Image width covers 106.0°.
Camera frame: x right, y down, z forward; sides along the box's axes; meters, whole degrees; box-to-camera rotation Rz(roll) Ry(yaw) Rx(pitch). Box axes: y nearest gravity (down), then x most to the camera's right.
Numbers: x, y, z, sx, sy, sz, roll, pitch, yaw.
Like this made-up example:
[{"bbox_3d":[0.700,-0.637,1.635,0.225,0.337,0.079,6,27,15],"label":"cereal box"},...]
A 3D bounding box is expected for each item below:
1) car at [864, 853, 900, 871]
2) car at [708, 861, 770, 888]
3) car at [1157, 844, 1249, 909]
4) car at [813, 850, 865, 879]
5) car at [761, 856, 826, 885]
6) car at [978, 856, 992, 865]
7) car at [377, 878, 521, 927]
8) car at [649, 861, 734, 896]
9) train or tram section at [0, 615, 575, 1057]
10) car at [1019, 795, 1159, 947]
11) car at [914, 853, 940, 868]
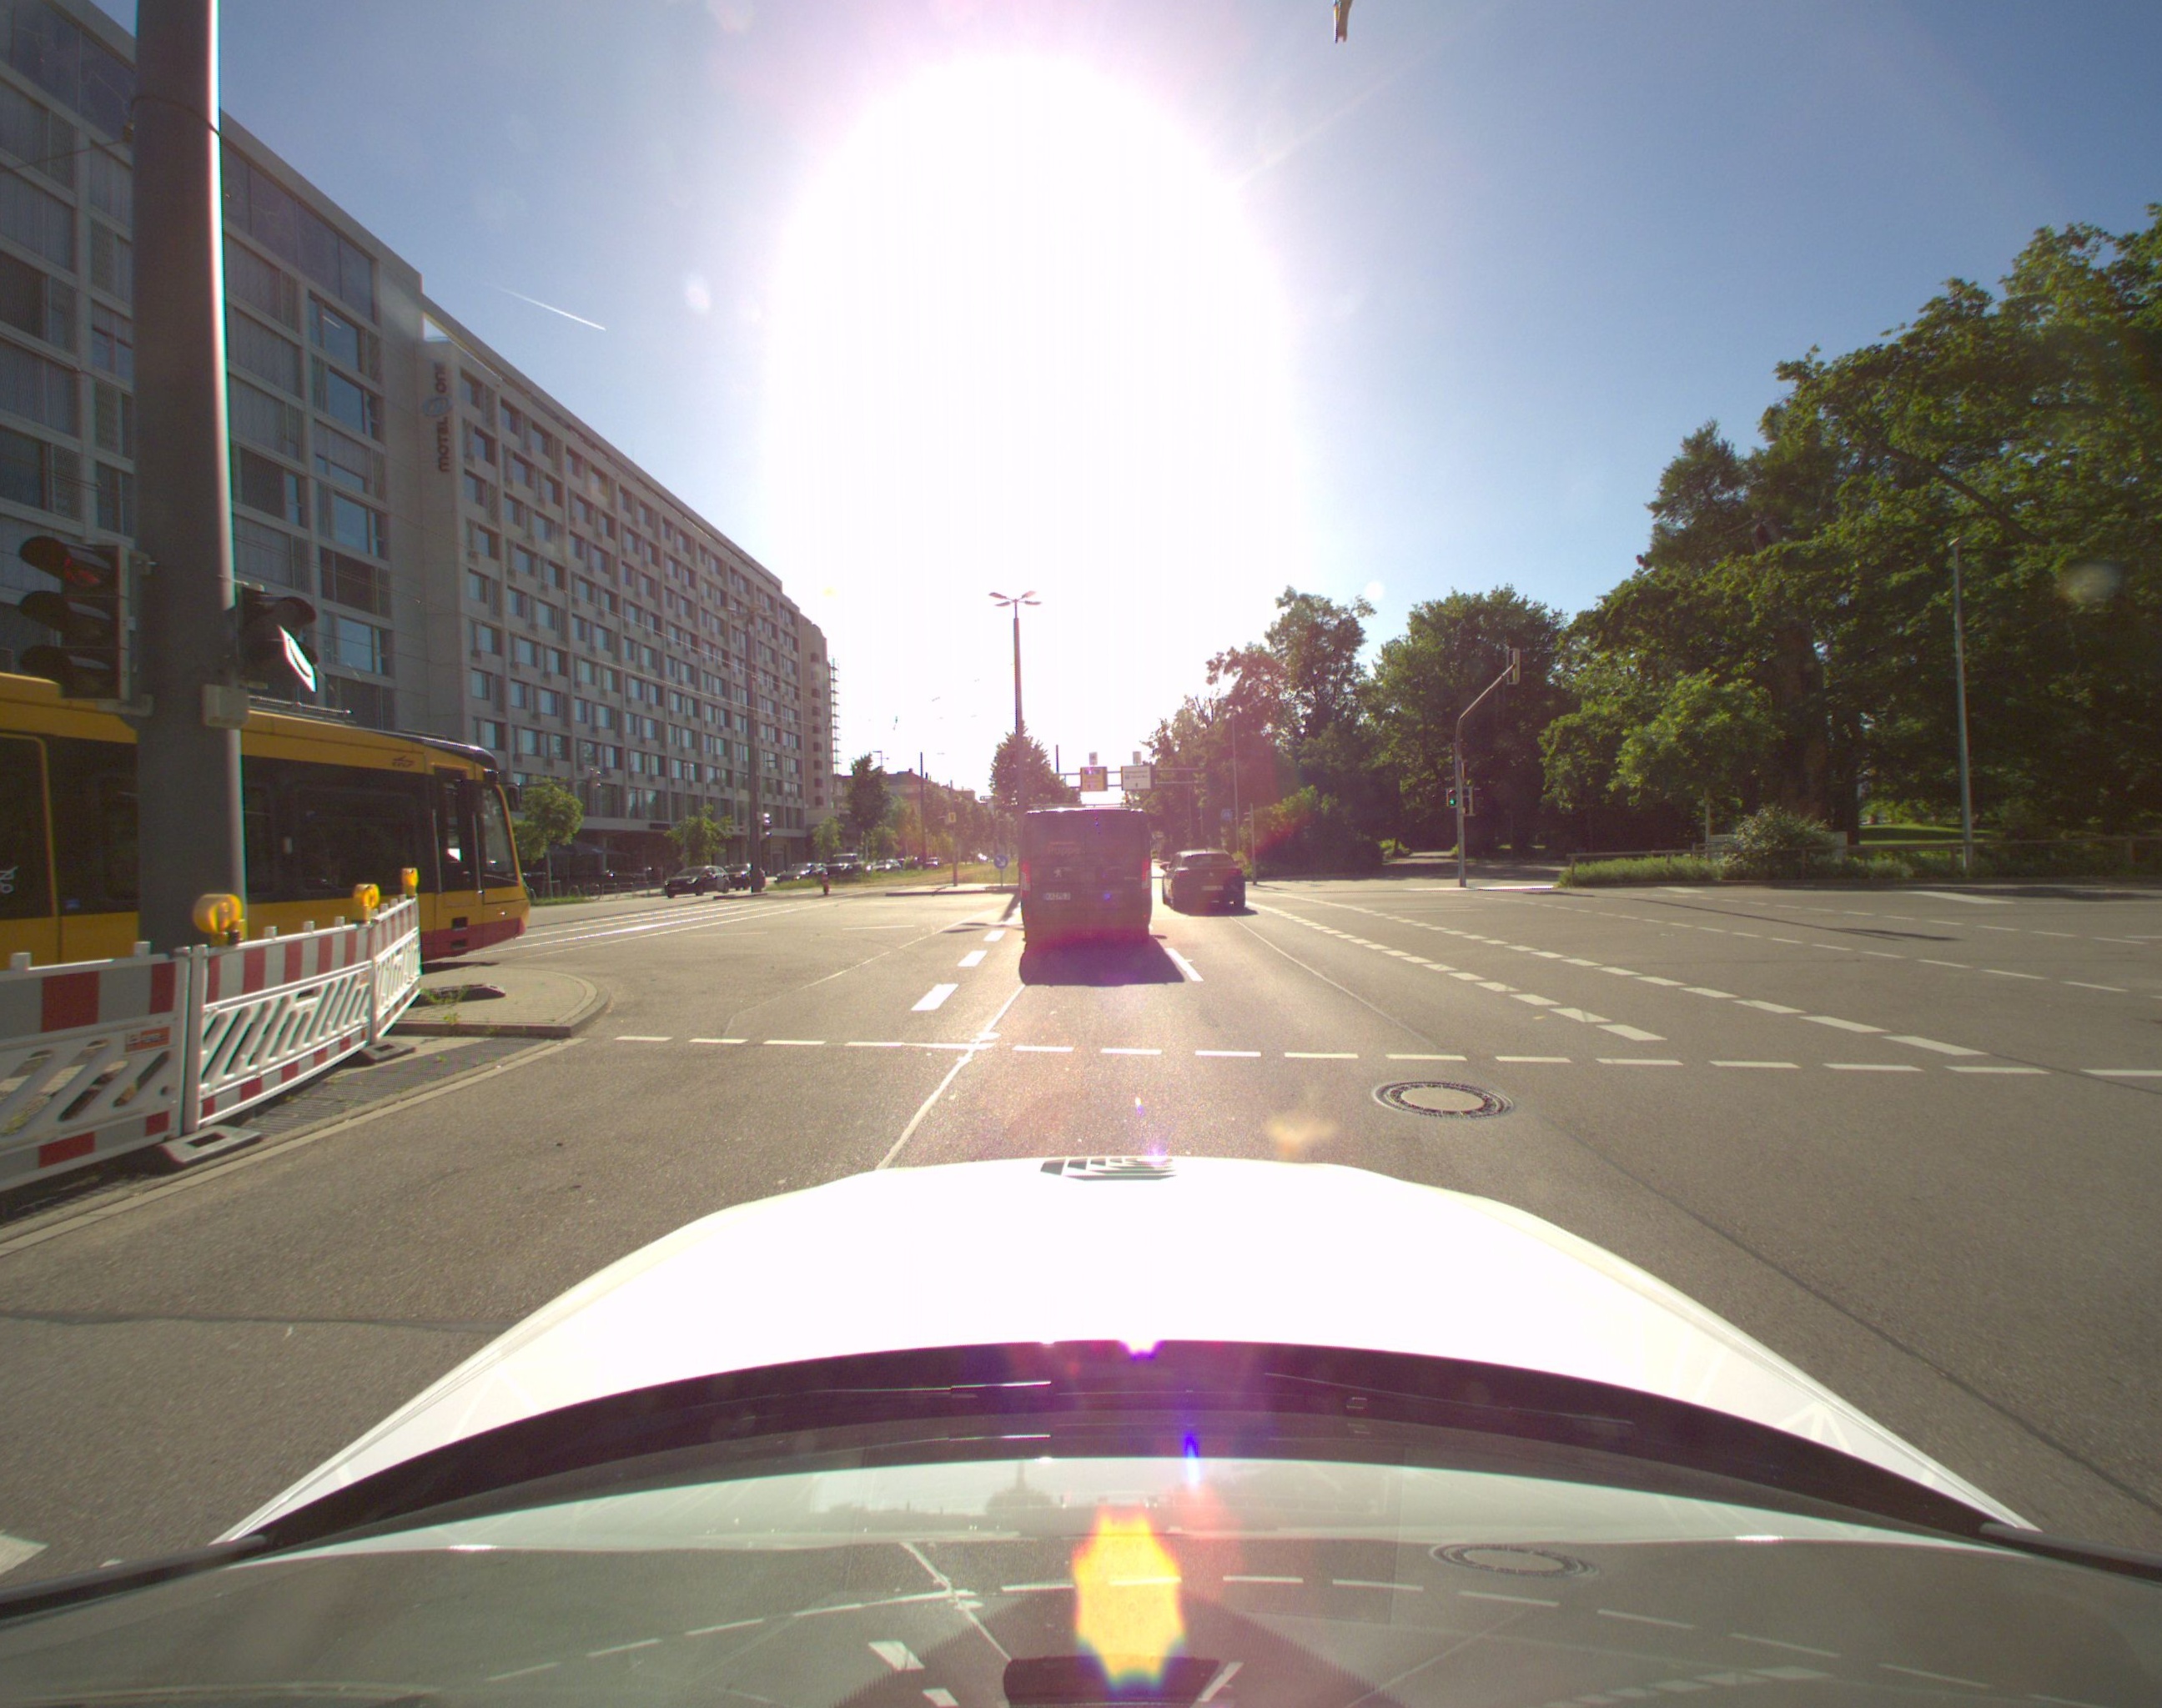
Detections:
[{"bbox_3d":[-18.171,0.740,74.490,1.985,1.552,4.004,-1,0,4],"label":"car"},{"bbox_3d":[-21.549,1.291,51.512,1.985,1.552,4.004,-1,0,4],"label":"car"},{"bbox_3d":[3.001,0.506,20.824,1.757,1.462,4.000,-1,0,0],"label":"car"},{"bbox_3d":[-16.189,0.657,54.741,1.985,1.819,4.290,-1,0,3],"label":"car"},{"bbox_3d":[-16.619,0.933,47.361,1.983,1.552,4.007,-1,0,6],"label":"car"},{"bbox_3d":[-18.143,1.167,154.253,1.985,1.552,4.003,-1,0,3],"label":"car"},{"bbox_3d":[-23.823,1.785,30.920,1.982,1.552,4.010,-1,0,9],"label":"car"},{"bbox_3d":[-19.615,1.197,41.194,1.983,1.552,4.008,-1,0,7],"label":"car"},{"bbox_3d":[-9.895,-0.147,7.752,1.984,3.669,11.699,-1,0,5],"label":"train or tram section"},{"bbox_3d":[0.178,0.244,14.245,2.074,2.248,4.002,-1,0,1],"label":"car"},{"bbox_3d":[-17.903,0.749,95.046,1.985,1.552,4.004,-1,0,4],"label":"car"}]
